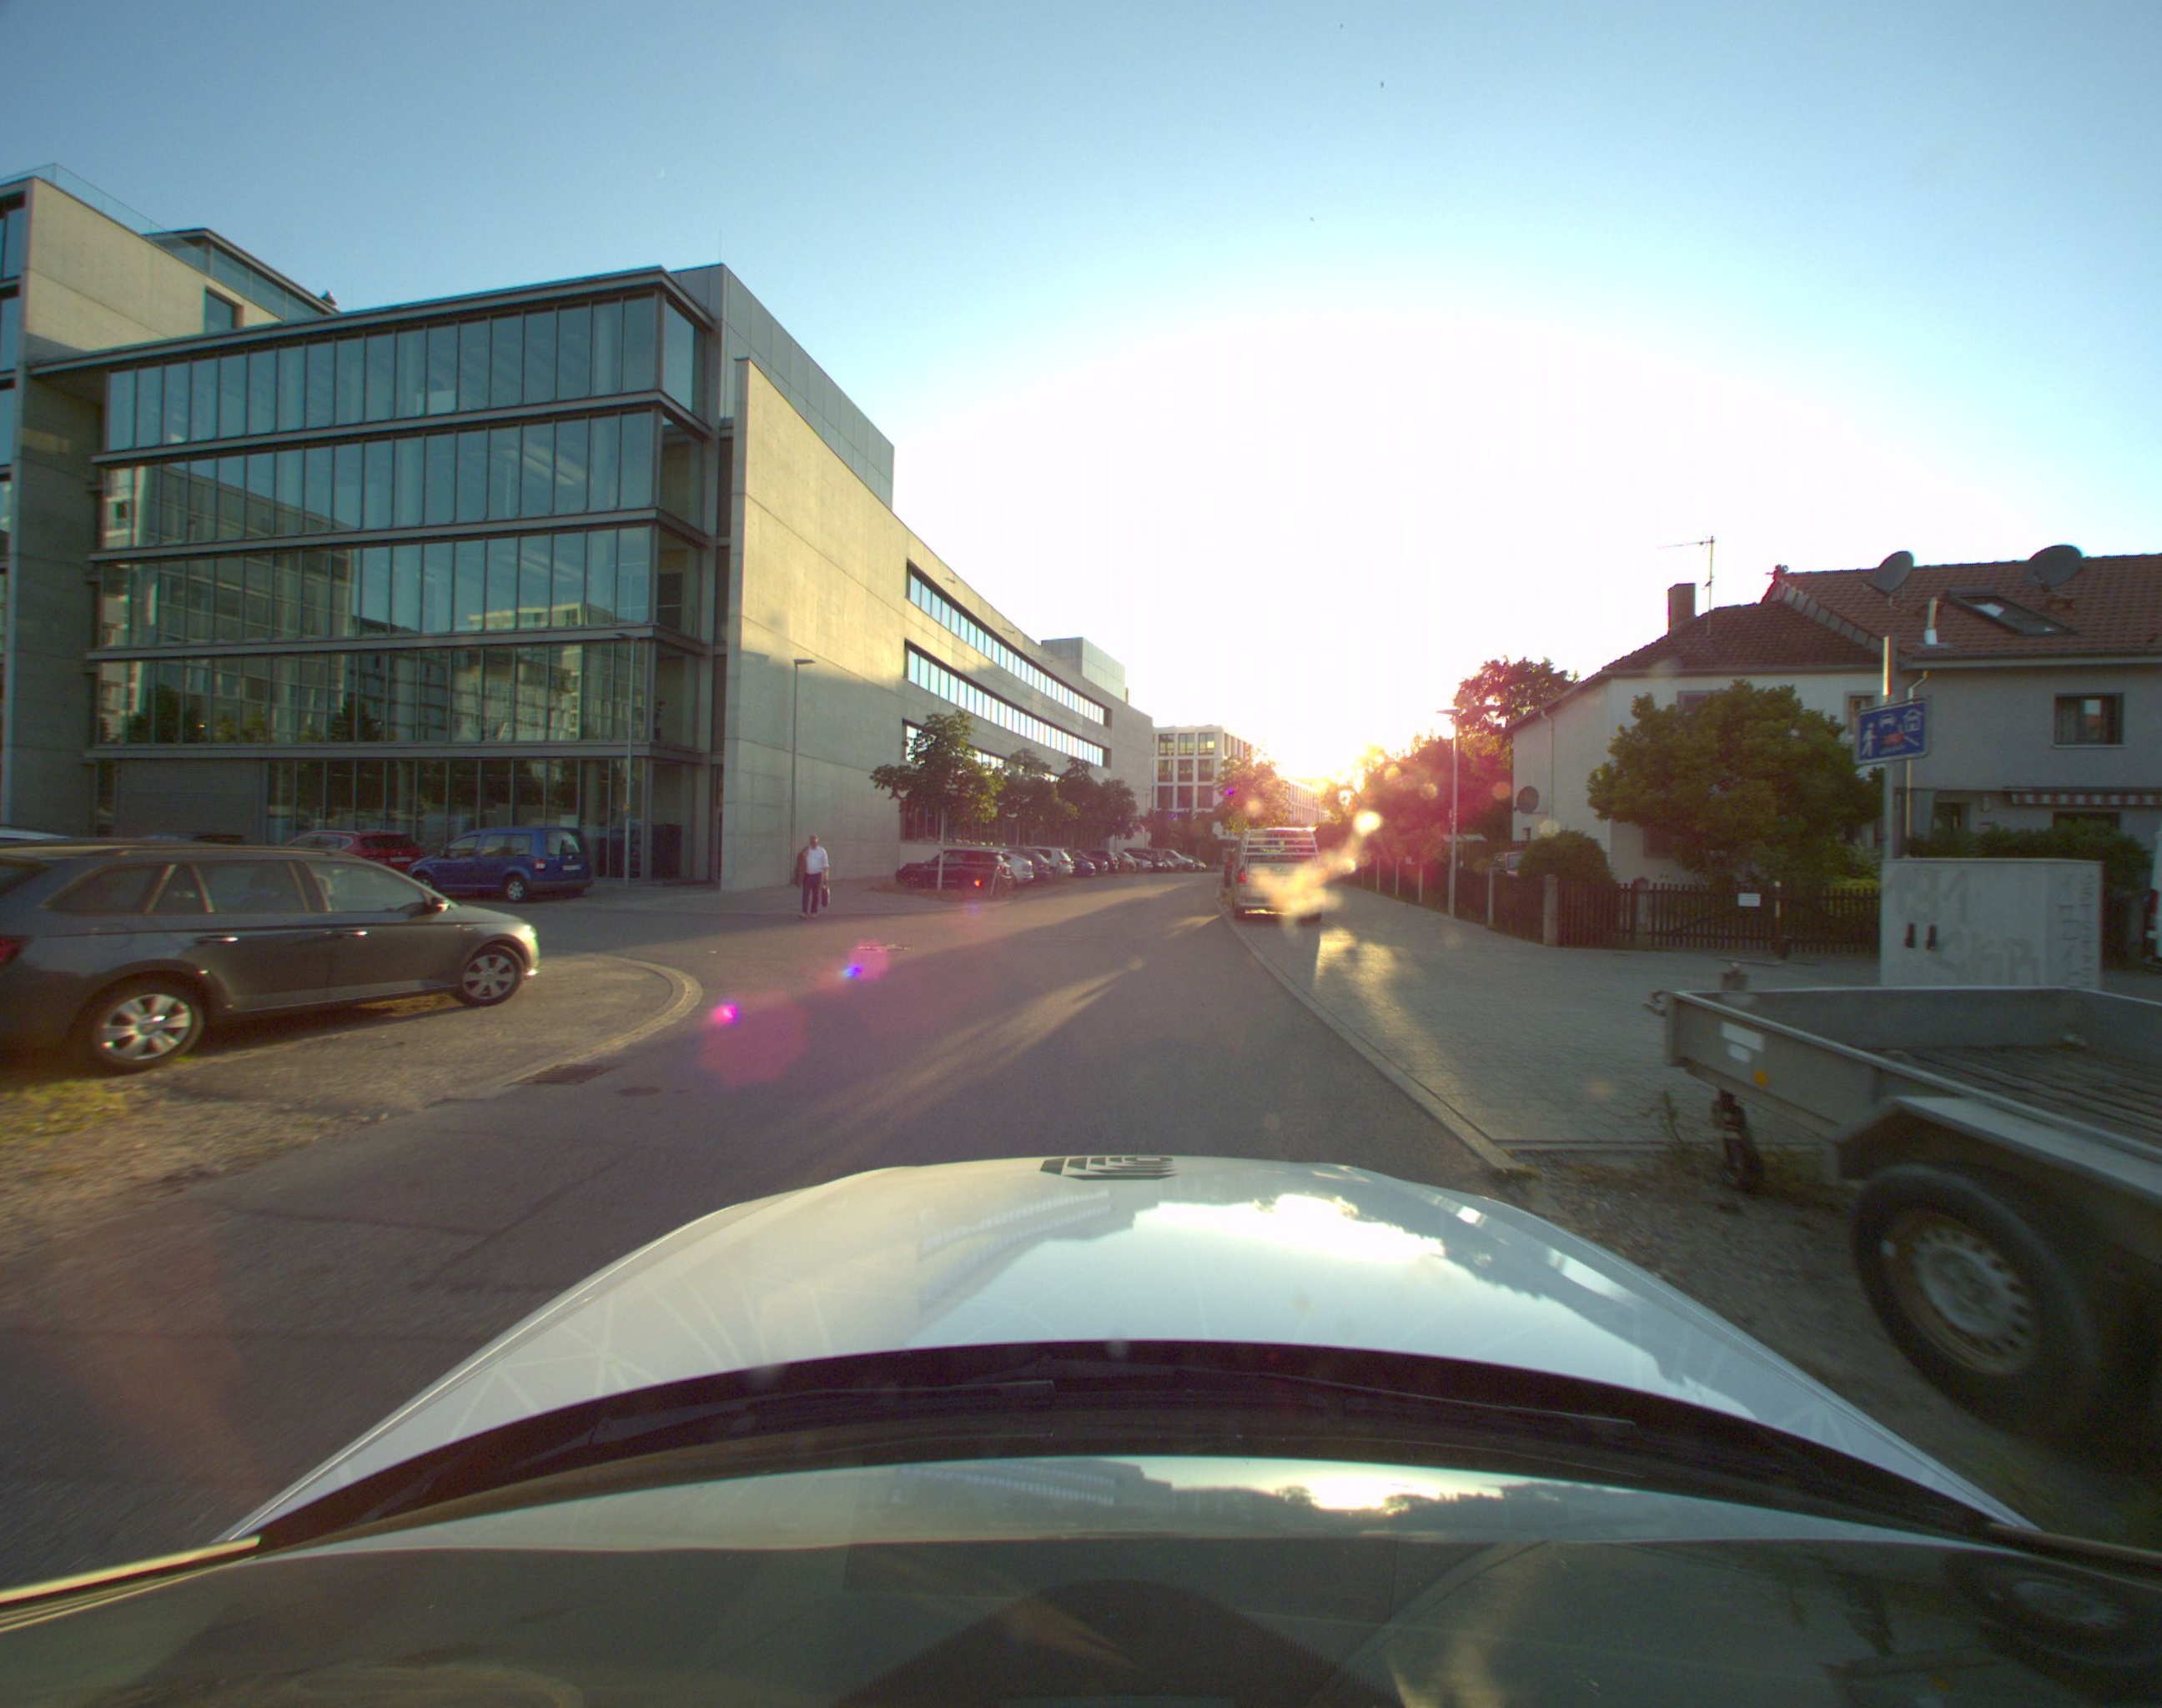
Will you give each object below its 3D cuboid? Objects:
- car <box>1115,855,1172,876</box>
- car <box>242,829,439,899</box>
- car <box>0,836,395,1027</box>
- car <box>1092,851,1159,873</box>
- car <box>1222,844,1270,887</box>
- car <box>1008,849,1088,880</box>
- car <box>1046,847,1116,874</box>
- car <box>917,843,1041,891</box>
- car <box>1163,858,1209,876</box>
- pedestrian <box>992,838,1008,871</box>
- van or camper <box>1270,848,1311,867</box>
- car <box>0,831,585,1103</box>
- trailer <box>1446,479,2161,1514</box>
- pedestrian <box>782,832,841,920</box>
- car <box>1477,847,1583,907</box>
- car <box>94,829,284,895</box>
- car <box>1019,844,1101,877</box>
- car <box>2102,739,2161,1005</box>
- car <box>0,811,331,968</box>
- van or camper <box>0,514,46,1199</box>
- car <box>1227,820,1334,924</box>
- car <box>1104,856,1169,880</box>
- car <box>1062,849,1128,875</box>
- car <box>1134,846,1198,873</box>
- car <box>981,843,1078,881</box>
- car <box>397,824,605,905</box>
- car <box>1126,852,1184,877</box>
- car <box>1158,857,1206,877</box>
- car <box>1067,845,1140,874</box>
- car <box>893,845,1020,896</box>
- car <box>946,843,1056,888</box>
[{"bbox_3d":[4.914,0.939,64.020,4.111,1.404,1.733,3,0,18],"label":"car"},{"bbox_3d":[-19.321,0.210,21.308,4.014,1.630,1.784,1,3,13],"label":"car"},{"bbox_3d":[-8.705,0.570,7.254,1.652,1.422,3.733,1,0,10],"label":"car"},{"bbox_3d":[3.138,0.530,57.478,4.398,1.464,1.771,1,0,18],"label":"car"},{"bbox_3d":[6.430,0.419,31.593,1.728,1.552,3.653,0,0,13],"label":"car"},{"bbox_3d":[-1.607,0.480,39.812,3.613,1.361,1.690,2,1,7],"label":"car"},{"bbox_3d":[0.032,0.376,47.175,3.676,1.458,1.717,1,0,13],"label":"car"},{"bbox_3d":[-3.644,0.434,29.509,4.065,1.528,1.849,2,0,6],"label":"car"},{"bbox_3d":[9.682,1.201,74.822,3.854,1.488,1.659,3,0,20],"label":"car"},{"bbox_3d":[-4.486,0.034,45.163,0.641,1.784,0.727,2,0,12],"label":"pedestrian"},{"bbox_3d":[30.559,0.458,118.949,5.402,2.483,1.786,2,1,27],"label":"van or camper"},{"bbox_3d":[-6.526,0.646,6.578,1.675,1.519,4.375,2,0,12],"label":"car"},{"bbox_3d":[3.373,0.300,2.799,2.056,2.211,5.225,0,0,2],"label":"trailer"},{"bbox_3d":[-5.827,0.454,17.613,0.845,1.850,0.907,1,1,44],"label":"pedestrian"},{"bbox_3d":[11.740,0.536,21.537,1.518,1.444,3.653,0,0,13],"label":"car"},{"bbox_3d":[-24.892,0.177,22.765,4.014,1.610,1.784,2,3,13],"label":"car"},{"bbox_3d":[-1.051,0.318,42.074,3.844,1.511,1.766,2,1,12],"label":"car"},{"bbox_3d":[13.544,0.254,7.158,5.523,2.692,2.061,1,2,14],"label":"car"},{"bbox_3d":[-10.809,0.319,8.445,1.652,1.480,4.215,3,-1,11],"label":"car"},{"bbox_3d":[-8.009,-0.079,2.575,6.709,2.897,2.411,2,0,4],"label":"van or camper"},{"bbox_3d":[4.485,0.352,19.022,2.053,2.095,4.885,0,0,9],"label":"car"},{"bbox_3d":[4.083,1.034,59.684,4.360,1.499,1.772,3,0,22],"label":"car"},{"bbox_3d":[0.851,0.494,49.147,3.675,1.458,1.686,1,-1,14],"label":"car"},{"bbox_3d":[7.220,0.463,69.156,5.035,1.946,1.898,3,0,19],"label":"car"},{"bbox_3d":[-2.275,0.351,36.549,3.962,1.511,1.765,2,1,11],"label":"car"},{"bbox_3d":[-14.273,0.198,20.132,4.060,1.831,1.853,1,2,10],"label":"car"},{"bbox_3d":[5.974,0.824,65.683,4.213,1.742,1.733,3,0,18],"label":"car"},{"bbox_3d":[8.951,1.126,72.258,3.955,1.522,1.613,3,0,18],"label":"car"},{"bbox_3d":[1.432,0.332,51.833,4.277,1.696,1.904,1,-1,14],"label":"car"},{"bbox_3d":[-4.033,0.499,26.744,3.715,1.482,1.773,2,1,6],"label":"car"},{"bbox_3d":[-3.077,0.424,31.777,3.978,1.512,1.588,2,2,6],"label":"car"}]
